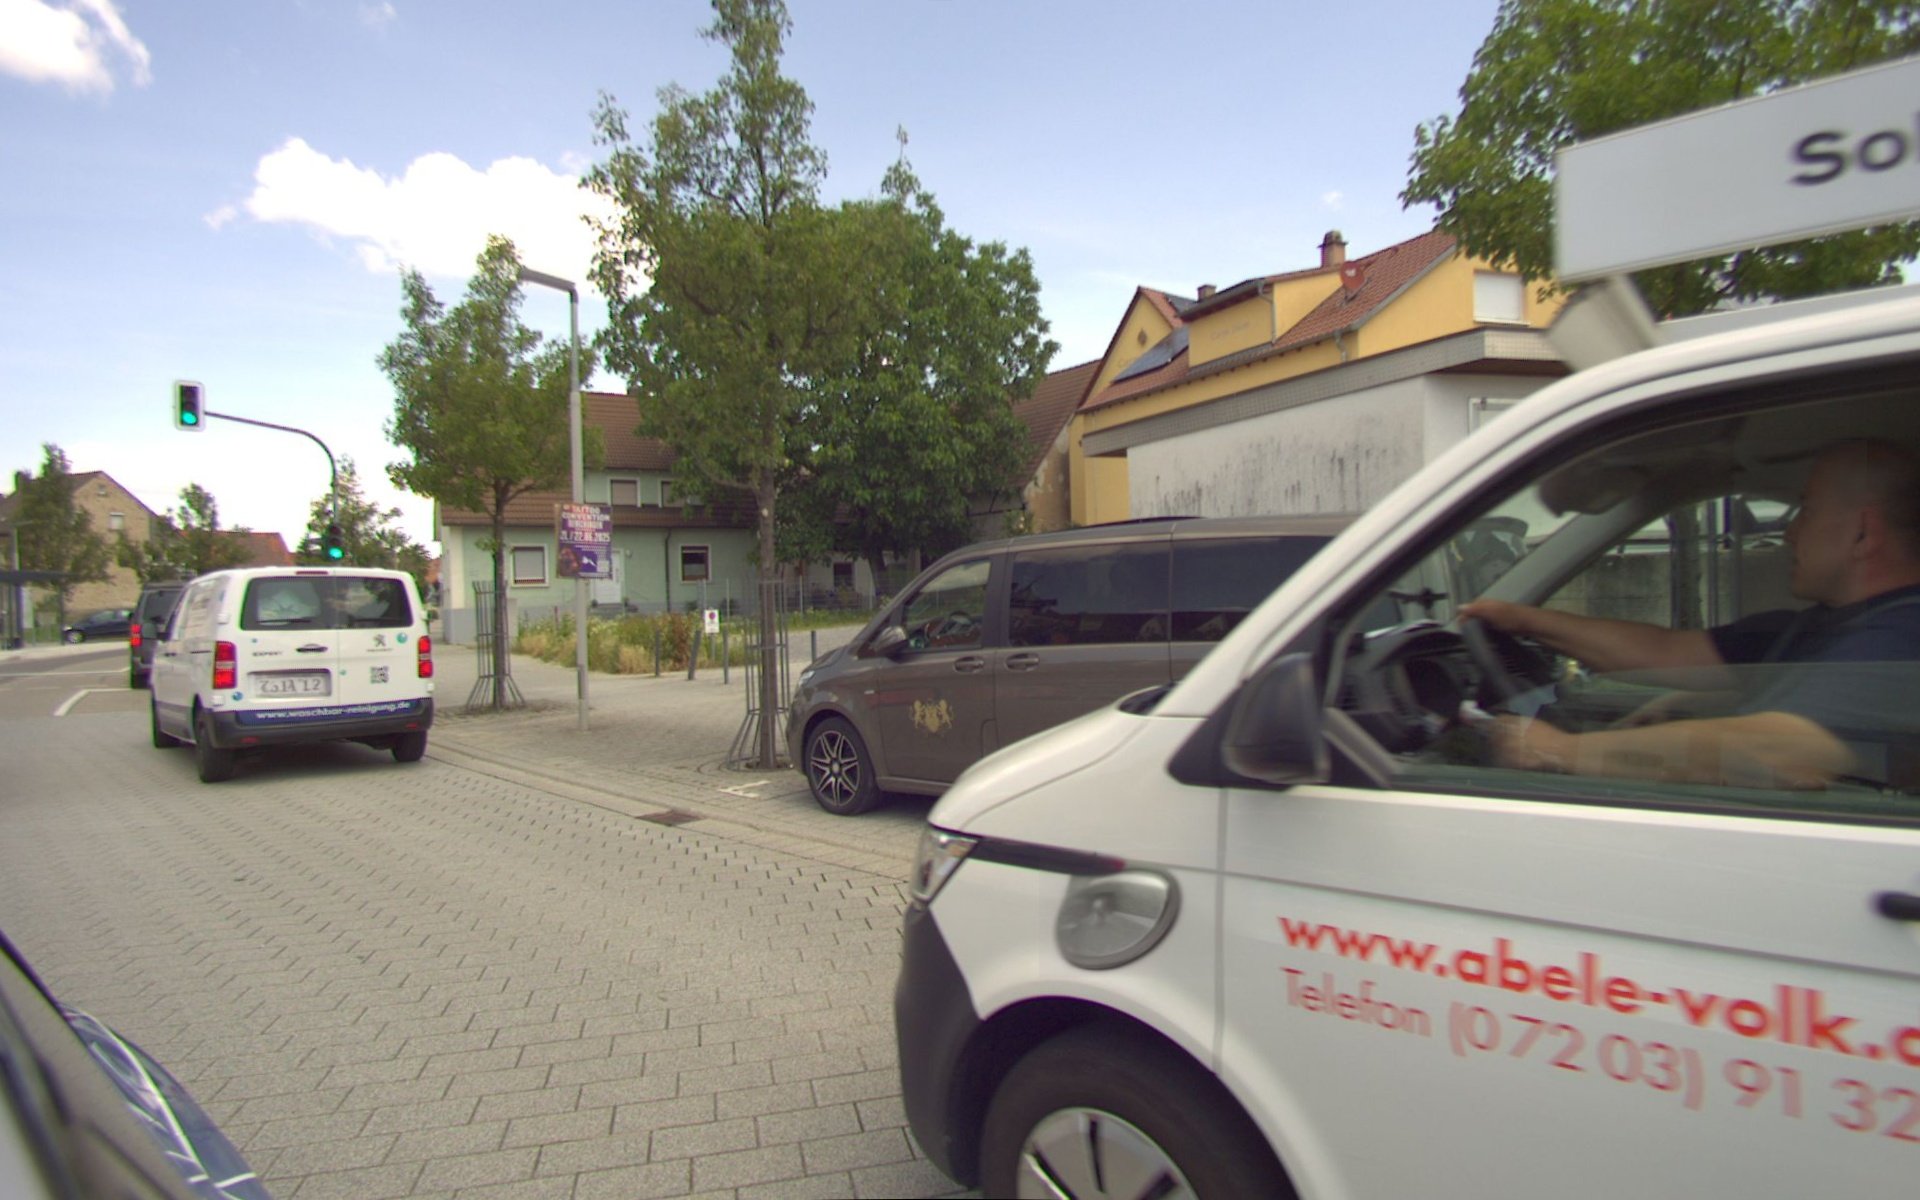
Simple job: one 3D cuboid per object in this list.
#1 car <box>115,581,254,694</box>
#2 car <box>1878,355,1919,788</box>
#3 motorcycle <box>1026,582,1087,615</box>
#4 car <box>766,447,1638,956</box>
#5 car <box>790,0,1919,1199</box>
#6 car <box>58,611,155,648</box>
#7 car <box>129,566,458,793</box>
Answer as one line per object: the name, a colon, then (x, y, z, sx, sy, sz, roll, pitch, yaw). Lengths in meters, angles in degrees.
car: (-15.926, 0.713, 20.672, 1.969, 2.029, 4.746, -1, -1, -41)
car: (5.318, -0.122, 2.394, 4.533, 1.434, 1.798, -1, 0, 40)
motorcycle: (3.098, -0.034, 32.519, 0.771, 1.028, 2.071, -2, 0, -35)
car: (1.111, 0.425, 6.426, 5.044, 2.005, 1.965, -1, 0, 43)
car: (2.147, 0.253, 1.332, 5.027, 2.202, 1.868, -1, 0, 41)
car: (-41.729, 1.424, 49.575, 3.491, 1.605, 1.670, -2, 0, -36)
car: (-7.324, 0.681, 10.869, 4.868, 1.894, 1.971, -1, 0, 45)
